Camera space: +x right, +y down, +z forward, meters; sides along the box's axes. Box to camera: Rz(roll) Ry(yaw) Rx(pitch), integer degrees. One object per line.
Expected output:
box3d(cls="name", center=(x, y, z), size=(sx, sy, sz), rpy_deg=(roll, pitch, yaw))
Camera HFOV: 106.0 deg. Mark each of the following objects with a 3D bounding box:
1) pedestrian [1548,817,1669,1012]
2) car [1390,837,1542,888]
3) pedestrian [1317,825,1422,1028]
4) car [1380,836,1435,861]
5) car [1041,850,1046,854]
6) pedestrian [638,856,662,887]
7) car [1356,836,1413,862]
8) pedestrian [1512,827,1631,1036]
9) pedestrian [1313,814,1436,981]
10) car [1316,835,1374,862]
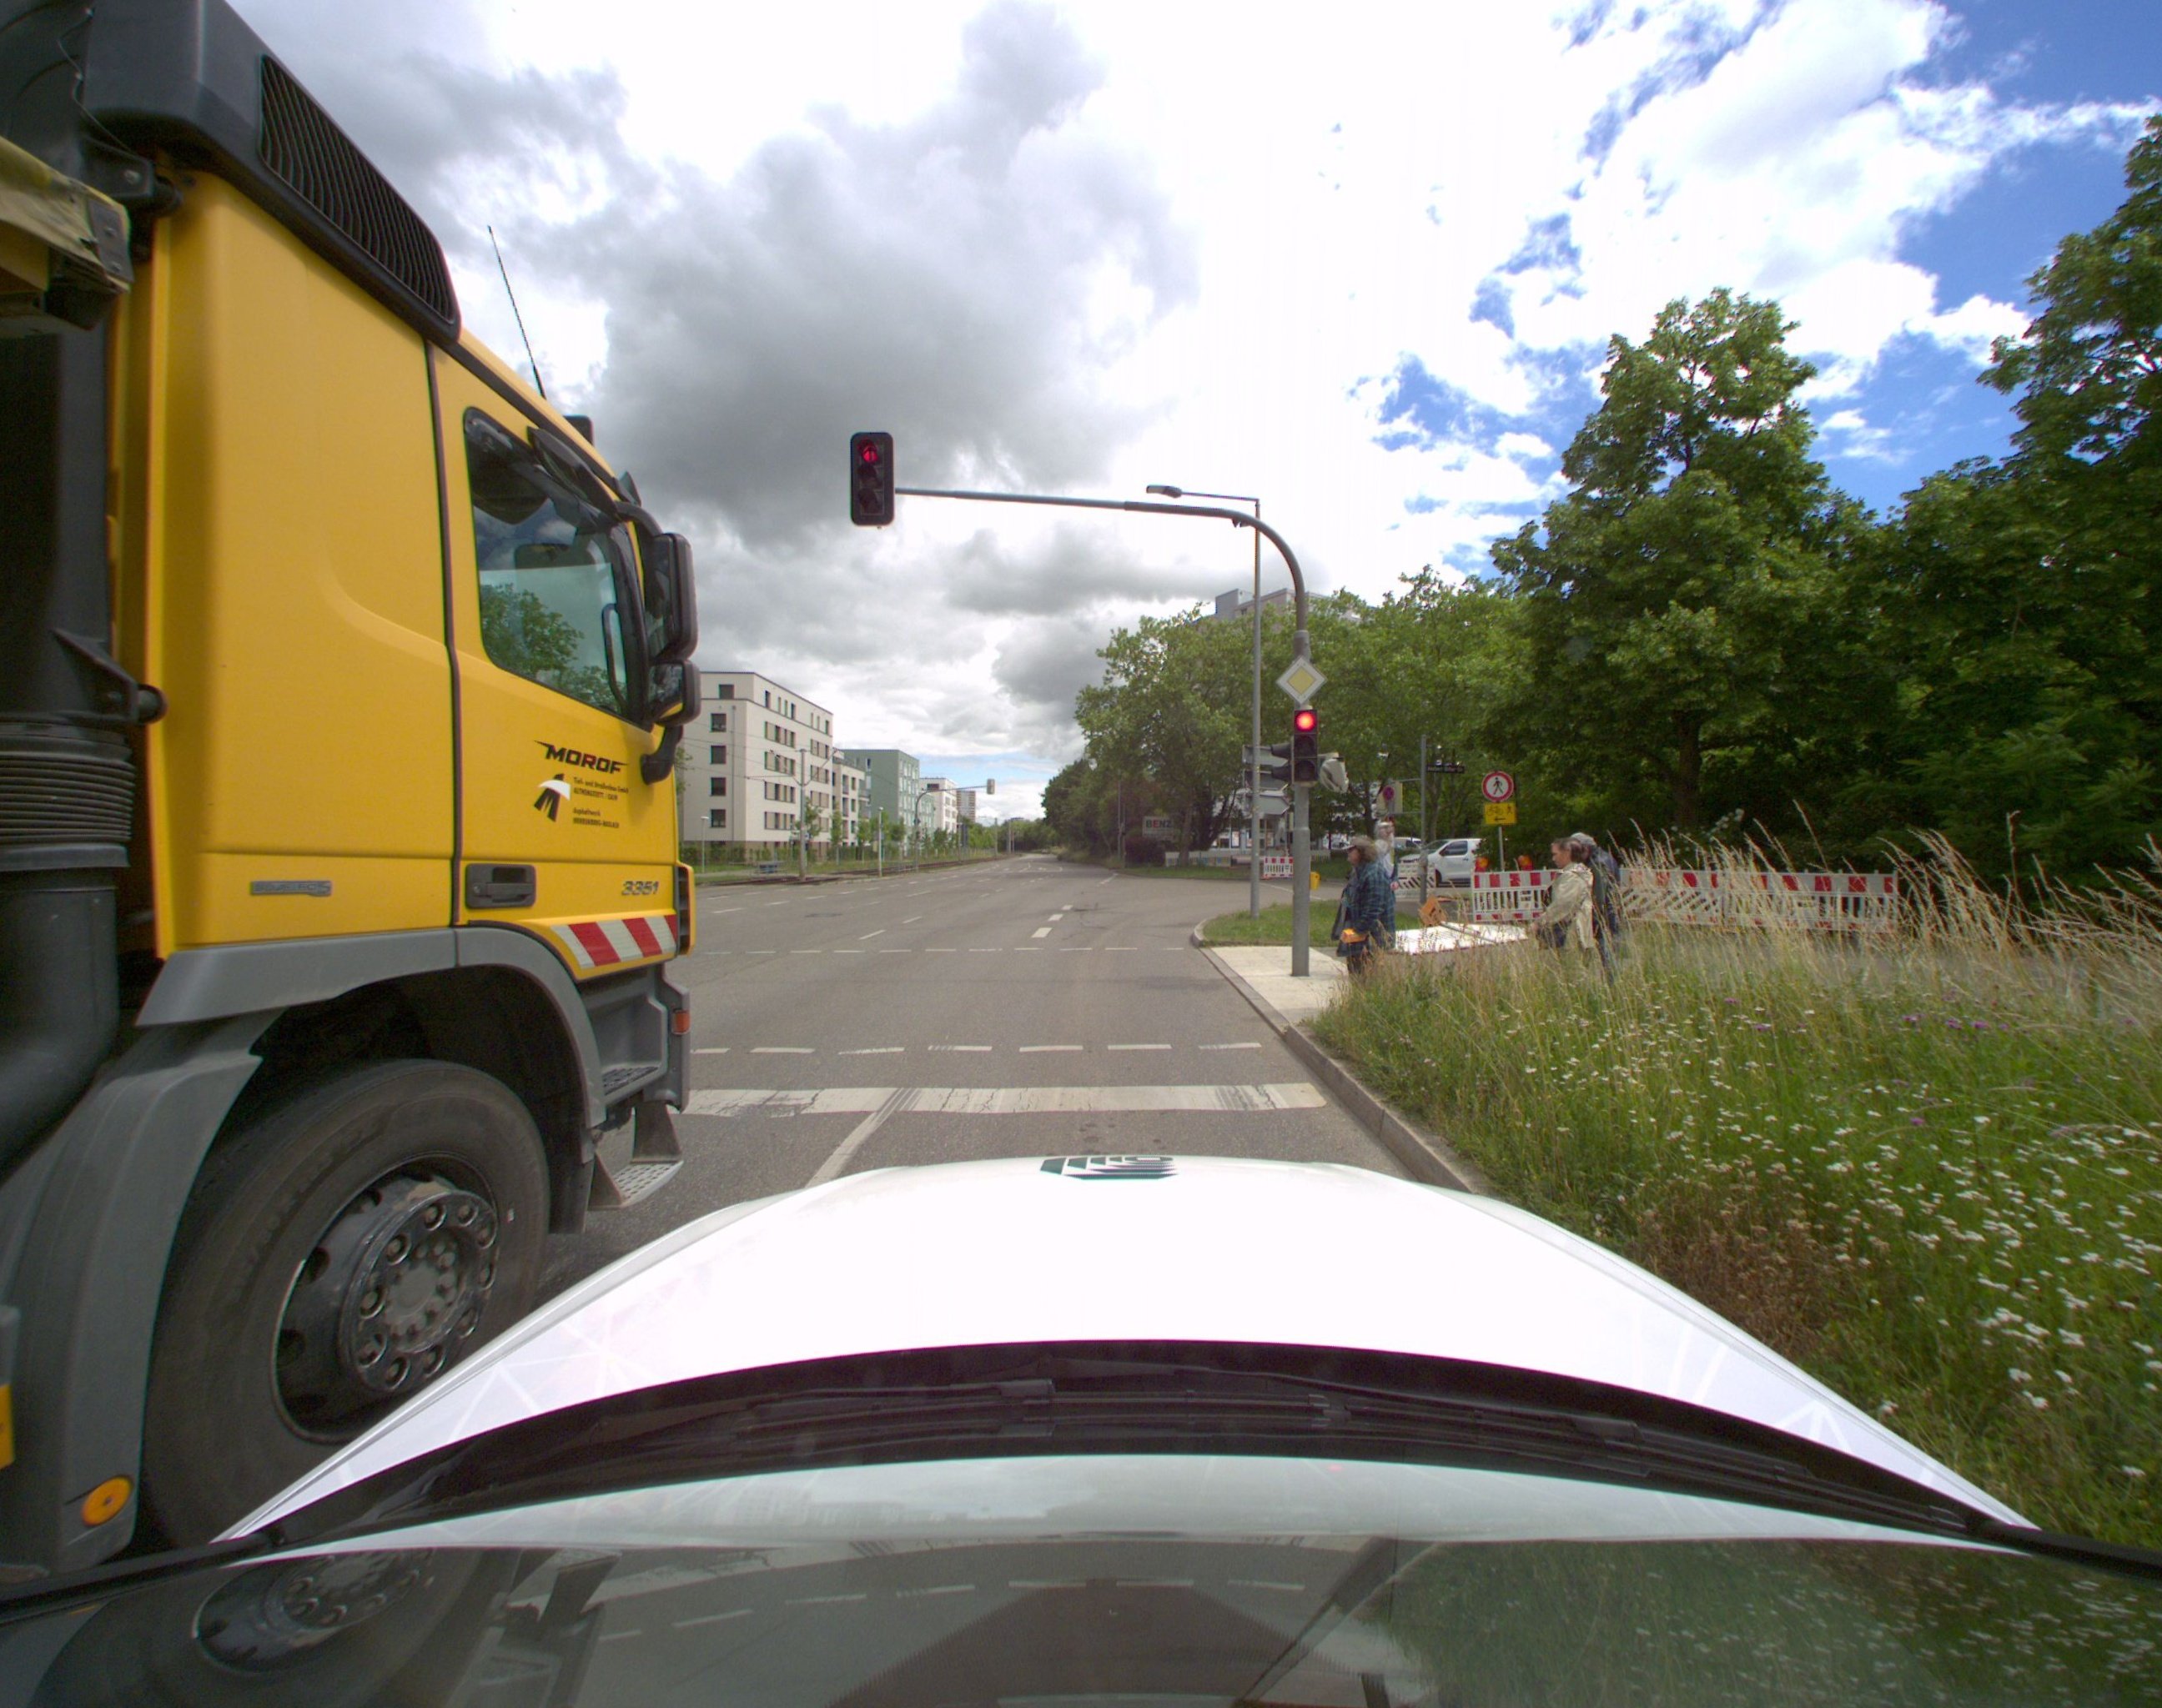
box3d(cls="pedestrian", center=(4.747, 0.509, 7.390), size=(0.860, 1.634, 0.770), rpy_deg=(-1, 0, 29))
box3d(cls="car", center=(14.997, 0.306, 31.871), size=(5.063, 1.874, 1.947), rpy_deg=(-1, 0, -2))
box3d(cls="pedestrian", center=(2.514, 0.600, 7.176), size=(0.816, 1.671, 0.736), rpy_deg=(-1, 0, 16))
box3d(cls="car", center=(27.371, -0.417, 68.359), size=(2.006, 2.013, 3.962), rpy_deg=(-1, 0, -29))
box3d(cls="car", center=(-11.796, -0.590, 257.418), size=(1.590, 1.354, 3.996), rpy_deg=(0, 0, -3))
box3d(cls="pedestrian", center=(-21.833, 0.878, 41.280), size=(0.827, 1.516, 0.636), rpy_deg=(-1, 0, 1))
box3d(cls="car", center=(24.657, -0.414, 66.224), size=(2.006, 2.013, 3.962), rpy_deg=(-1, 0, -29))
box3d(cls="pedestrian", center=(4.160, 0.609, 6.935), size=(0.814, 1.640, 0.738), rpy_deg=(-1, 0, 31))
box3d(cls="pedestrian", center=(3.372, 0.459, 9.360), size=(0.954, 1.774, 1.000), rpy_deg=(-1, 0, -44))
box3d(cls="car", center=(20.627, -0.406, 63.740), size=(2.006, 2.013, 3.962), rpy_deg=(-1, 0, -29))
